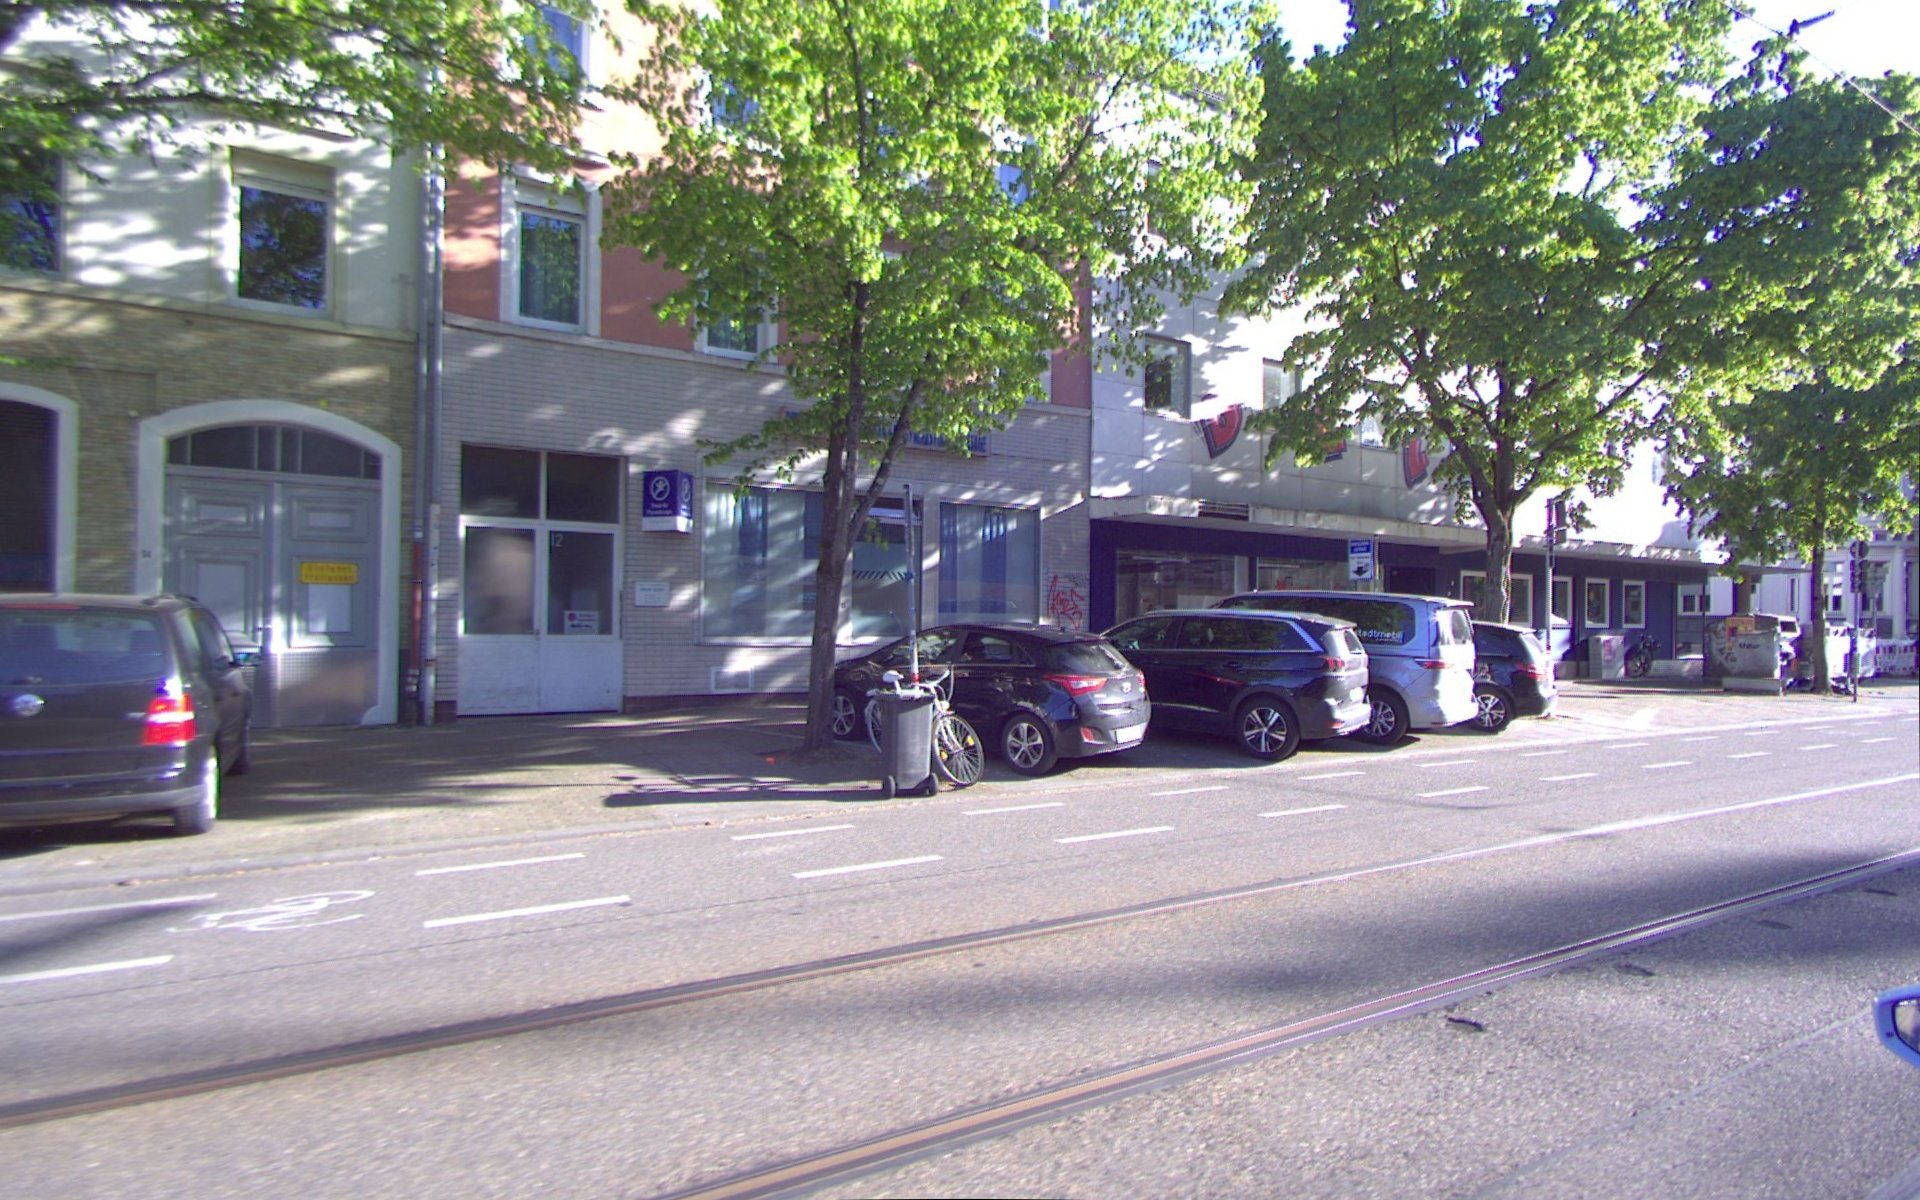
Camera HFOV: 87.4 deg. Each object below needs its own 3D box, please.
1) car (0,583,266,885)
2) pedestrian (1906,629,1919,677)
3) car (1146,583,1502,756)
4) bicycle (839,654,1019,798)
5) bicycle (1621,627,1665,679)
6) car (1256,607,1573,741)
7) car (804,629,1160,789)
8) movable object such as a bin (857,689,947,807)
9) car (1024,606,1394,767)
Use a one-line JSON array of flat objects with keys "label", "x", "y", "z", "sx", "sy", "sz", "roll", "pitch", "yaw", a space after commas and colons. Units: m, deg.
[{"label": "car", "x": -6.557, "y": 0.765, "z": 7.676, "sx": 1.820, "sy": 1.700, "sz": 4.081, "roll": 1, "pitch": 1, "yaw": -32}, {"label": "pedestrian", "x": 32.545, "y": 1.793, "z": 34.101, "sx": 0.502, "sy": 1.593, "sz": 0.346, "roll": 0, "pitch": -1, "yaw": -2}, {"label": "car", "x": 5.037, "y": 0.832, "z": 14.178, "sx": 4.301, "sy": 2.013, "sz": 1.941, "roll": 2, "pitch": 0, "yaw": 39}, {"label": "bicycle", "x": -0.342, "y": 1.166, "z": 9.791, "sx": 1.944, "sy": 1.160, "sz": 0.490, "roll": 2, "pitch": 0, "yaw": 43}, {"label": "bicycle", "x": 18.317, "y": 1.399, "z": 26.915, "sx": 2.169, "sy": 1.361, "sz": 0.520, "roll": 2, "pitch": -2, "yaw": -44}, {"label": "car", "x": 7.119, "y": 1.051, "z": 15.898, "sx": 4.227, "sy": 1.689, "sz": 1.905, "roll": 3, "pitch": 1, "yaw": 37}, {"label": "car", "x": 0.139, "y": 1.080, "z": 11.431, "sx": 3.814, "sy": 1.496, "sz": 1.833, "roll": -1, "pitch": -2, "yaw": 43}, {"label": "movable object such as a bin", "x": -0.518, "y": 1.305, "z": 9.009, "sx": 0.569, "sy": 0.925, "sz": 0.572, "roll": 2, "pitch": 2, "yaw": 44}, {"label": "car", "x": 3.013, "y": 0.985, "z": 12.668, "sx": 4.185, "sy": 1.707, "sz": 1.802, "roll": -2, "pitch": -2, "yaw": 40}]
